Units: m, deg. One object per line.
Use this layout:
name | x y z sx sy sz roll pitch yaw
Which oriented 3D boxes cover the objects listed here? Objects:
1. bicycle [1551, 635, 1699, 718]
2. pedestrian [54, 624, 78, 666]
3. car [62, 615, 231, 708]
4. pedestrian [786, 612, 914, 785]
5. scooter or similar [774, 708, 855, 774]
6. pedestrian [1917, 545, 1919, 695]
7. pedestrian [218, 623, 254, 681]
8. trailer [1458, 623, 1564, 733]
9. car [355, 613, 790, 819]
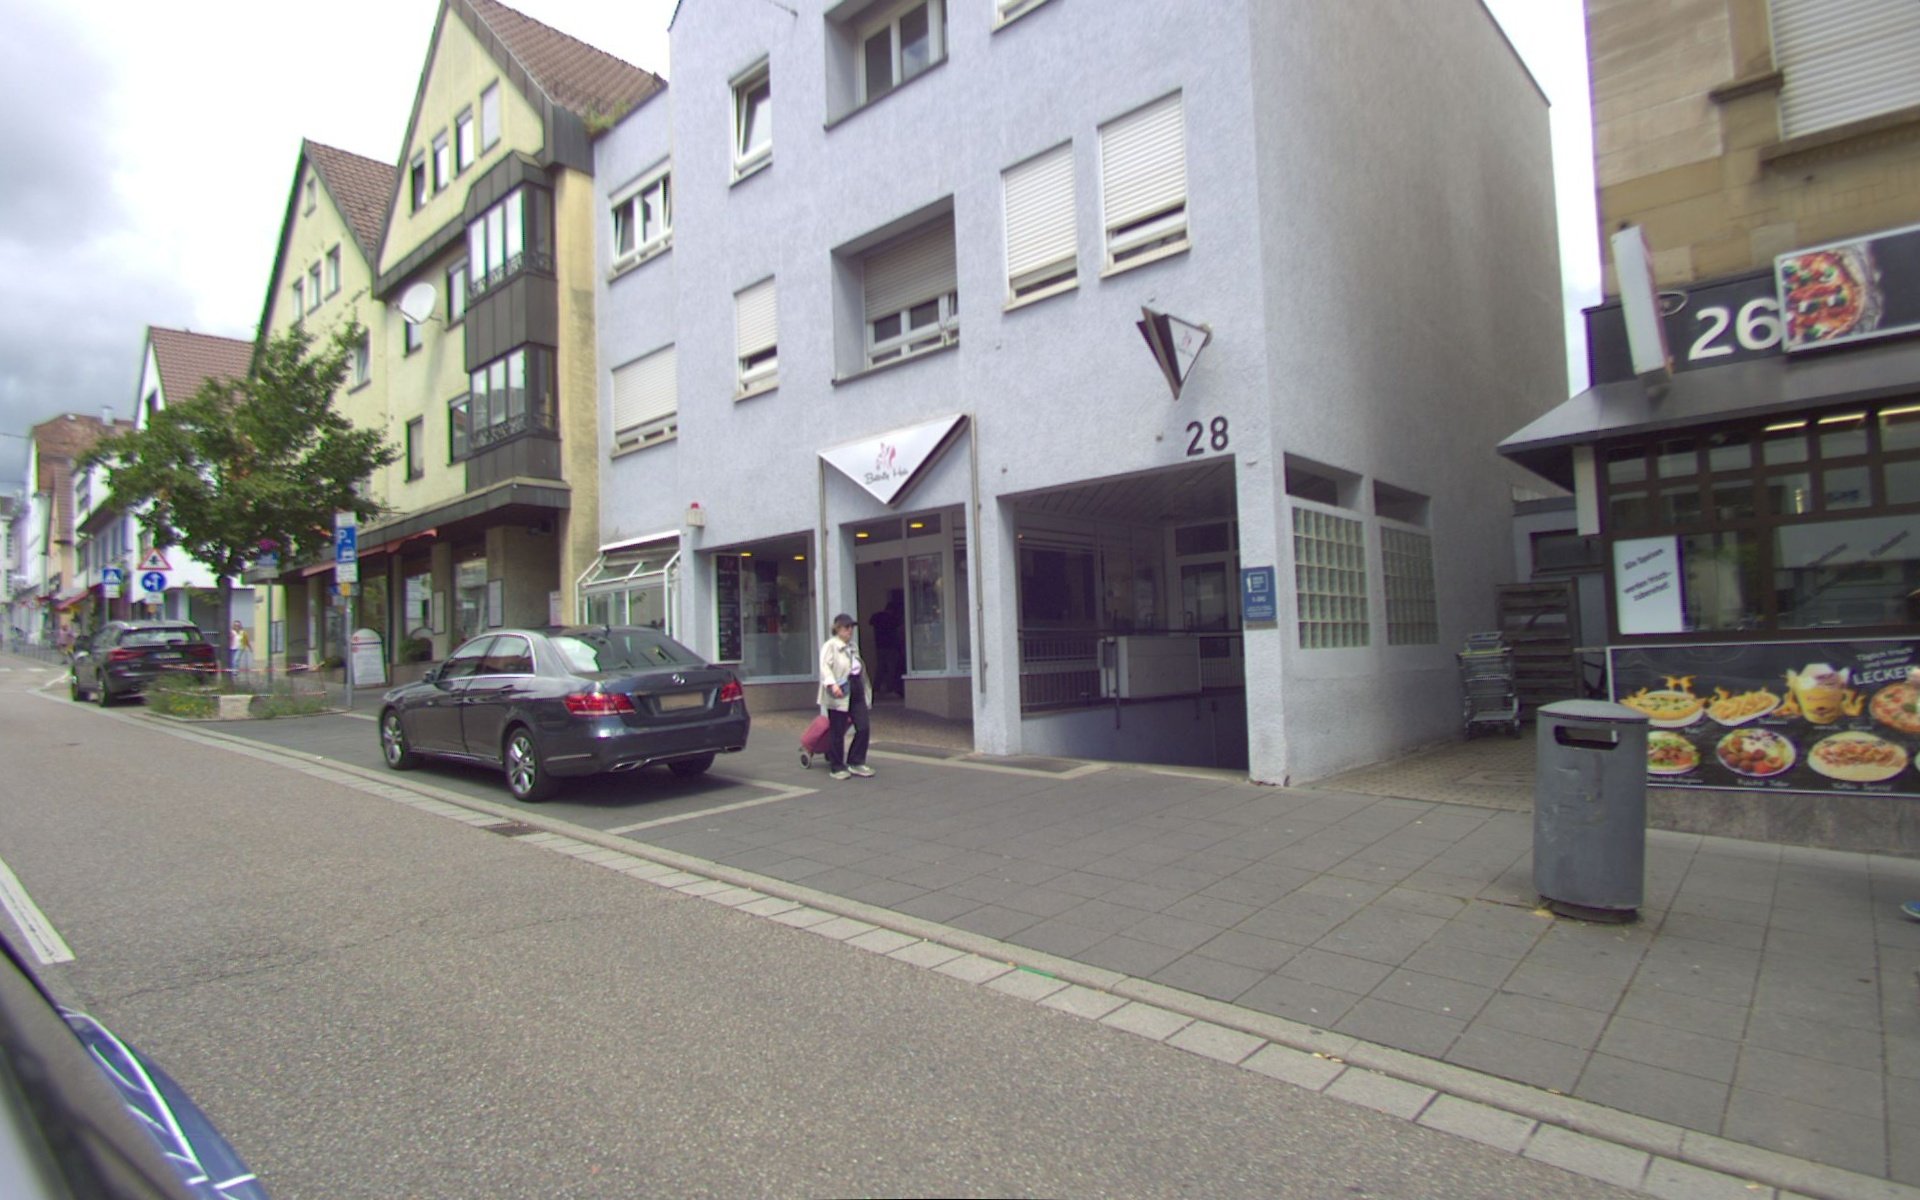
bicycle | 8.857 1.037 13.526 1.520 1.004 0.433 -8 -6 41
pedestrian | -38.090 1.910 43.109 0.825 1.753 0.686 -2 -3 44
car | -17.195 1.232 21.307 4.604 1.706 1.986 -2 -1 41
pedestrian | -1.012 0.860 9.327 0.809 1.474 0.817 -1 1 40
scooter or similar | -1.411 1.353 9.815 0.572 0.523 0.519 -1 1 41
pedestrian | 4.916 0.593 4.643 0.710 1.726 0.581 -1 0 41
pedestrian | -22.171 1.592 30.996 0.835 1.752 0.630 -1 -3 39
trailer | 6.544 0.903 12.008 0.789 1.222 1.218 -5 -4 41
car | -4.006 0.932 9.992 4.839 1.504 1.907 -1 0 40
